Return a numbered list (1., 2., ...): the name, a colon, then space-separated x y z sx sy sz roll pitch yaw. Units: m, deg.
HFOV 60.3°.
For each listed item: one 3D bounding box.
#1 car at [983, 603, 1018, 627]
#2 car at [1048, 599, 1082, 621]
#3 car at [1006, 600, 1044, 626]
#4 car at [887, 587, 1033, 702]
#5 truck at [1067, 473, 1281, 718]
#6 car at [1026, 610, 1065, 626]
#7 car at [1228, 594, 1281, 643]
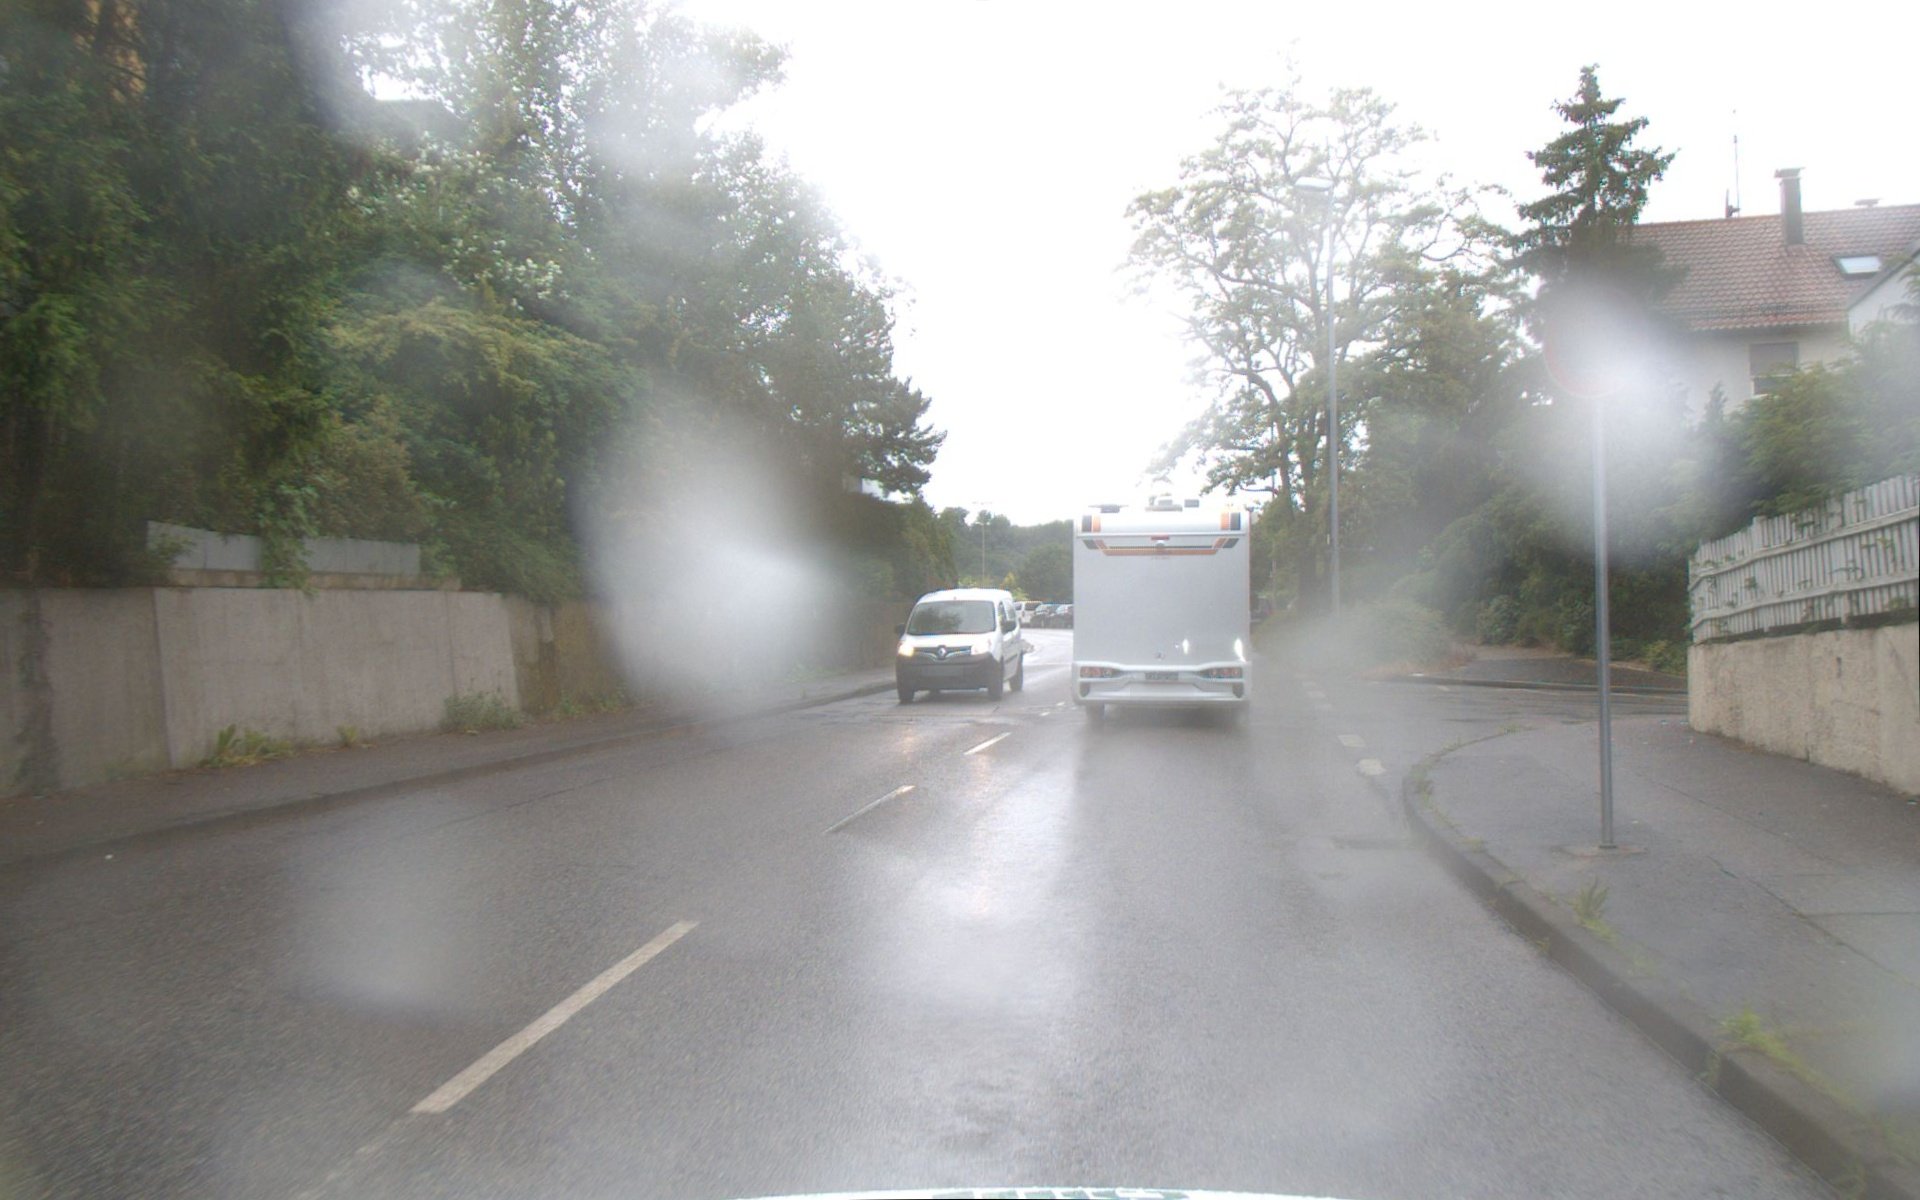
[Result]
1. car: 3.149 1.172 129.944 1.619 1.751 3.982 3 -3 -16
2. car: 7.152 0.708 113.086 1.511 1.350 3.991 3 -3 -8
3. car: 4.877 1.001 124.049 1.619 1.751 3.982 3 -3 -16
4. car: 0.095 0.723 28.419 1.801 1.786 4.424 1 0 9
5. truck: 3.113 0.083 23.080 2.462 2.867 6.205 2 -3 10
6. car: 6.141 1.298 118.818 1.619 1.120 3.982 0 0 -16
7. car: 11.535 0.754 64.857 1.951 1.669 4.002 2 -3 10
